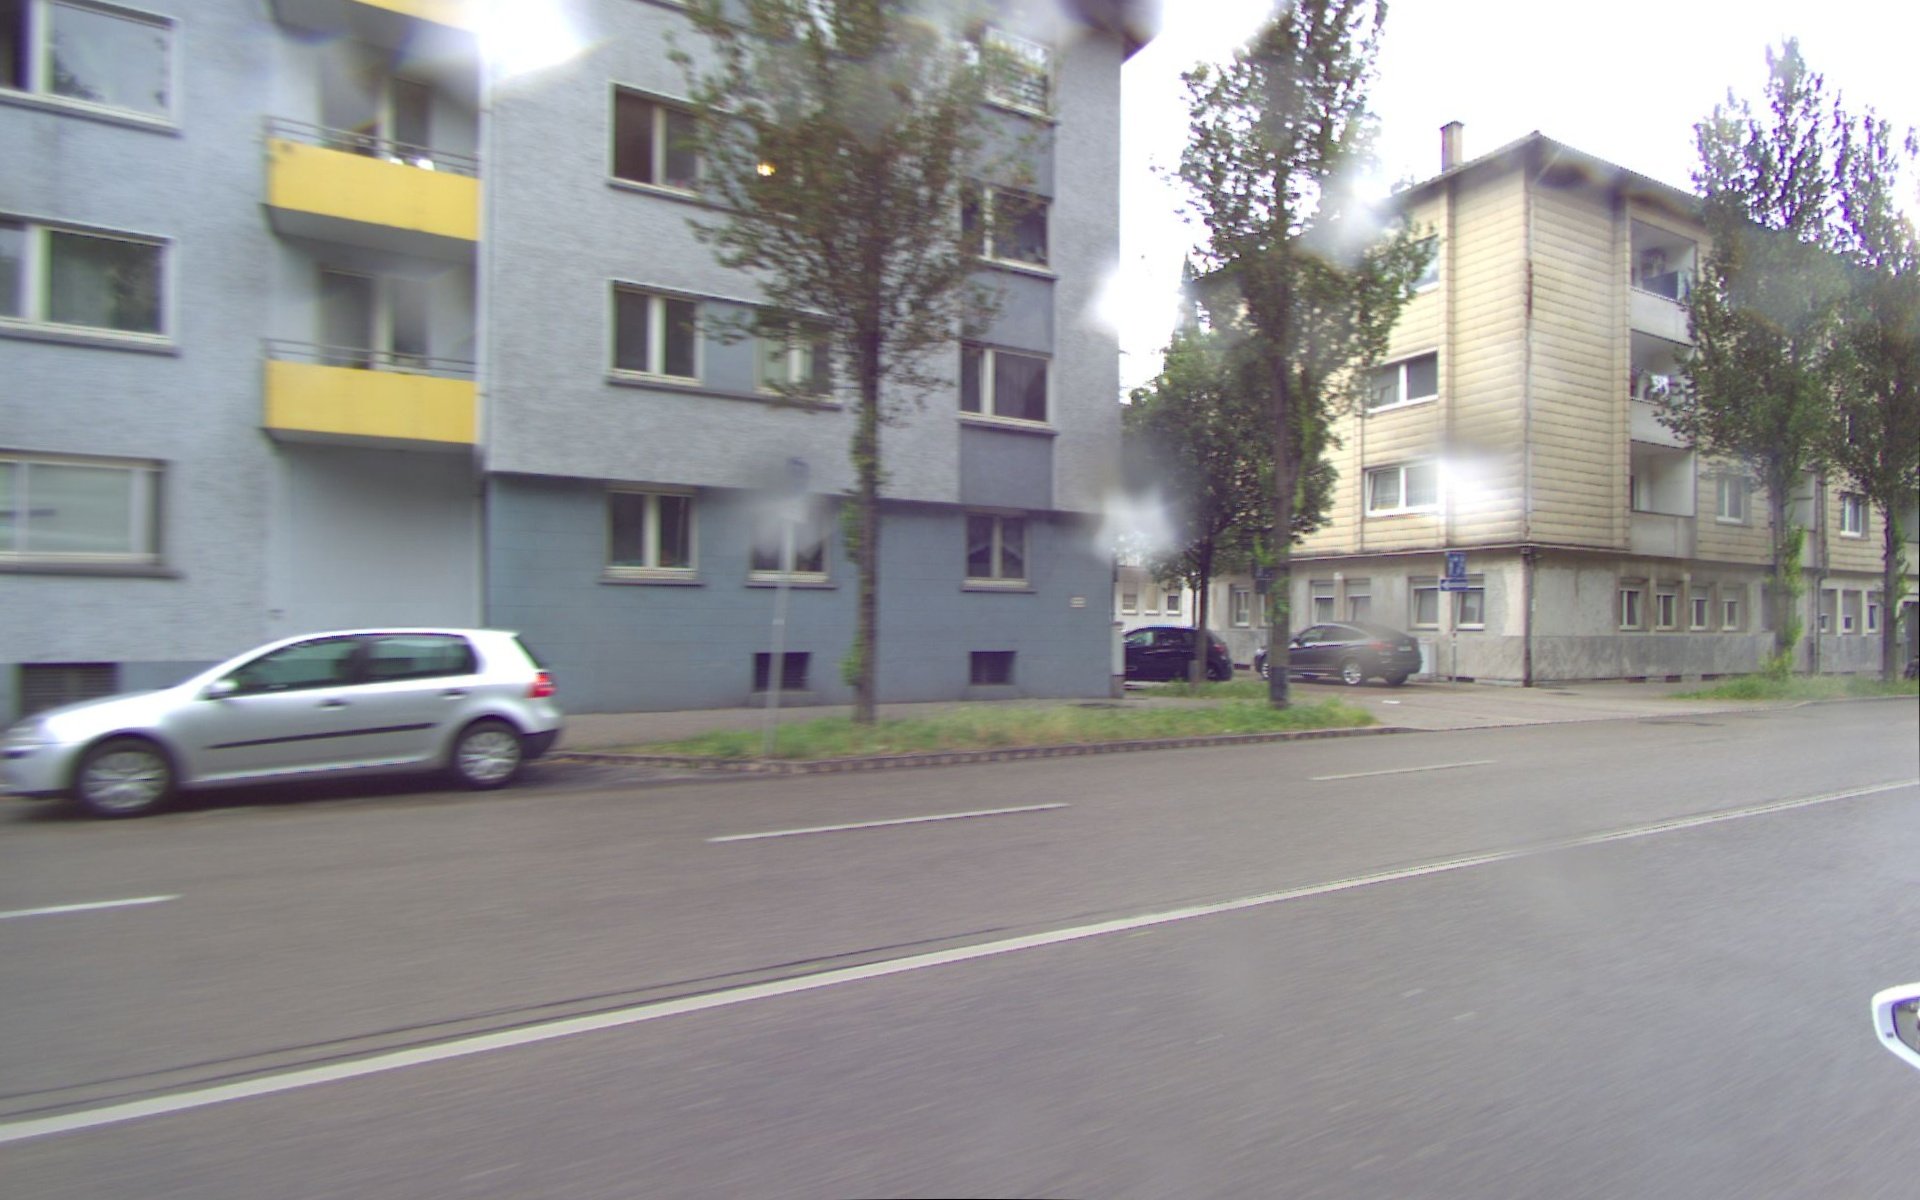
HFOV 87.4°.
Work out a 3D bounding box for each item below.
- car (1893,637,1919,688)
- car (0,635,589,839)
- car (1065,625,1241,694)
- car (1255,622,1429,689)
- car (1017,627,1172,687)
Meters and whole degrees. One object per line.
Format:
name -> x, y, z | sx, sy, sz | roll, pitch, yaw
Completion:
car -> 28.441, 1.744, 28.541 | 3.938, 1.405, 1.619 | 1, -2, -28
car -> -5.704, 1.052, 9.088 | 4.159, 1.472, 1.715 | 1, -2, -33
car -> 4.537, 1.377, 23.522 | 3.919, 1.513, 1.715 | 0, -3, 15
car -> 10.049, 1.410, 26.748 | 1.902, 1.600, 4.133 | 0, -1, -28
car -> 3.566, 1.487, 26.622 | 3.919, 1.514, 1.796 | 0, -2, 10
